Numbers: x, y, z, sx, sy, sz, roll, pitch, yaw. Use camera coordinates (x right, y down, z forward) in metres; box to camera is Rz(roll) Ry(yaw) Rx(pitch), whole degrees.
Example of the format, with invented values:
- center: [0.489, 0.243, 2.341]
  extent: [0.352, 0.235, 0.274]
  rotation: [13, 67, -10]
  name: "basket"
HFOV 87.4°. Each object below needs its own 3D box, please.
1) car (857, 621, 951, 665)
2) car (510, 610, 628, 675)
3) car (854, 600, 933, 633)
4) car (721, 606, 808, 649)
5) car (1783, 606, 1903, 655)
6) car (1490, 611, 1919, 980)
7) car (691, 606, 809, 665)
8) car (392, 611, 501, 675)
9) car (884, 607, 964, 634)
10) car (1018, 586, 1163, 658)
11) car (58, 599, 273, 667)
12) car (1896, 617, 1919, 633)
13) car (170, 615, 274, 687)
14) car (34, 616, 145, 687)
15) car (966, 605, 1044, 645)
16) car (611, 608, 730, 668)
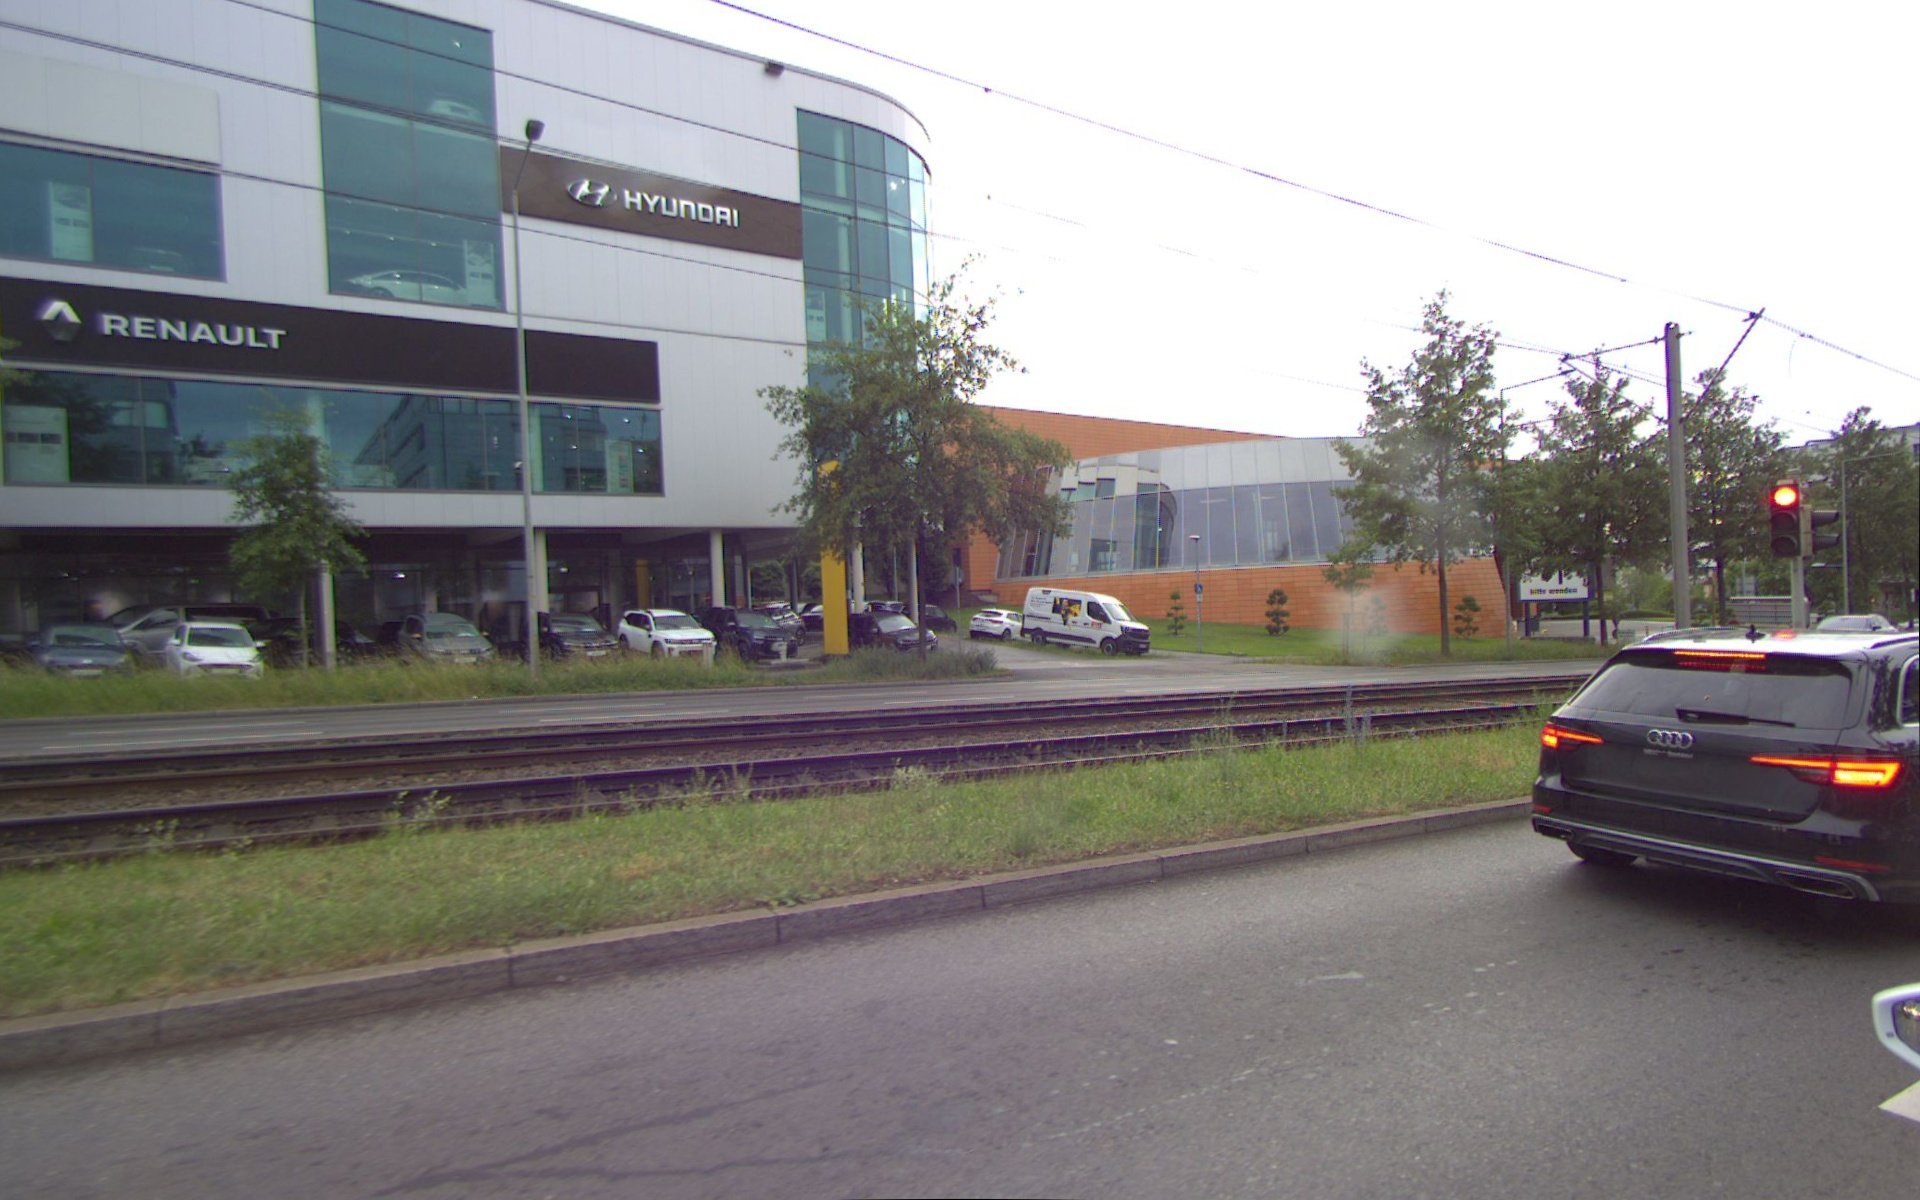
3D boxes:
- center: [-1.991, 1.451, 34.891]
  extent: [1.565, 1.409, 3.619]
  rotation: [0, 0, -36]
  name: "car"
- center: [-11.579, 1.171, 29.579]
  extent: [1.984, 1.571, 4.324]
  rotation: [1, 2, -40]
  name: "car"
- center: [-3.434, 0.841, 52.244]
  extent: [1.970, 1.653, 3.982]
  rotation: [0, -1, 39]
  name: "car"
- center: [-7.433, 1.019, 38.516]
  extent: [1.691, 1.572, 3.587]
  rotation: [0, -1, 20]
  name: "car"
- center: [33.403, 1.139, 37.958]
  extent: [4.784, 1.742, 1.984]
  rotation: [0, -2, -30]
  name: "car"
- center: [5.322, 0.824, 5.984]
  extent: [4.460, 1.486, 1.772]
  rotation: [1, 0, -30]
  name: "car"
- center: [-6.950, 1.103, 32.992]
  extent: [1.984, 1.637, 4.324]
  rotation: [1, 2, -40]
  name: "car"
- center: [-14.492, 1.145, 28.260]
  extent: [1.917, 1.479, 3.974]
  rotation: [1, 2, -40]
  name: "car"
- center: [-1.782, 0.993, 50.671]
  extent: [1.970, 1.297, 3.982]
  rotation: [0, -1, 39]
  name: "car"
- center: [5.286, 0.843, 41.252]
  extent: [5.544, 2.616, 2.392]
  rotation: [3, 2, 43]
  name: "car"
- center: [-22.965, 0.893, 29.278]
  extent: [1.962, 1.806, 4.544]
  rotation: [0, 0, 23]
  name: "car"
- center: [90.111, 2.277, 93.630]
  extent: [1.638, 1.455, 3.846]
  rotation: [1, -3, -33]
  name: "car"
- center: [-18.874, 1.228, 25.629]
  extent: [1.906, 1.479, 3.999]
  rotation: [1, 2, -40]
  name: "car"
- center: [-21.044, 1.173, 24.393]
  extent: [1.906, 1.370, 3.999]
  rotation: [1, 2, -40]
  name: "car"
- center: [2.078, 1.091, 45.311]
  extent: [1.703, 1.688, 3.734]
  rotation: [0, 0, 38]
  name: "car"
- center: [-9.117, 1.119, 31.428]
  extent: [1.984, 1.571, 4.324]
  rotation: [1, 2, -40]
  name: "car"
